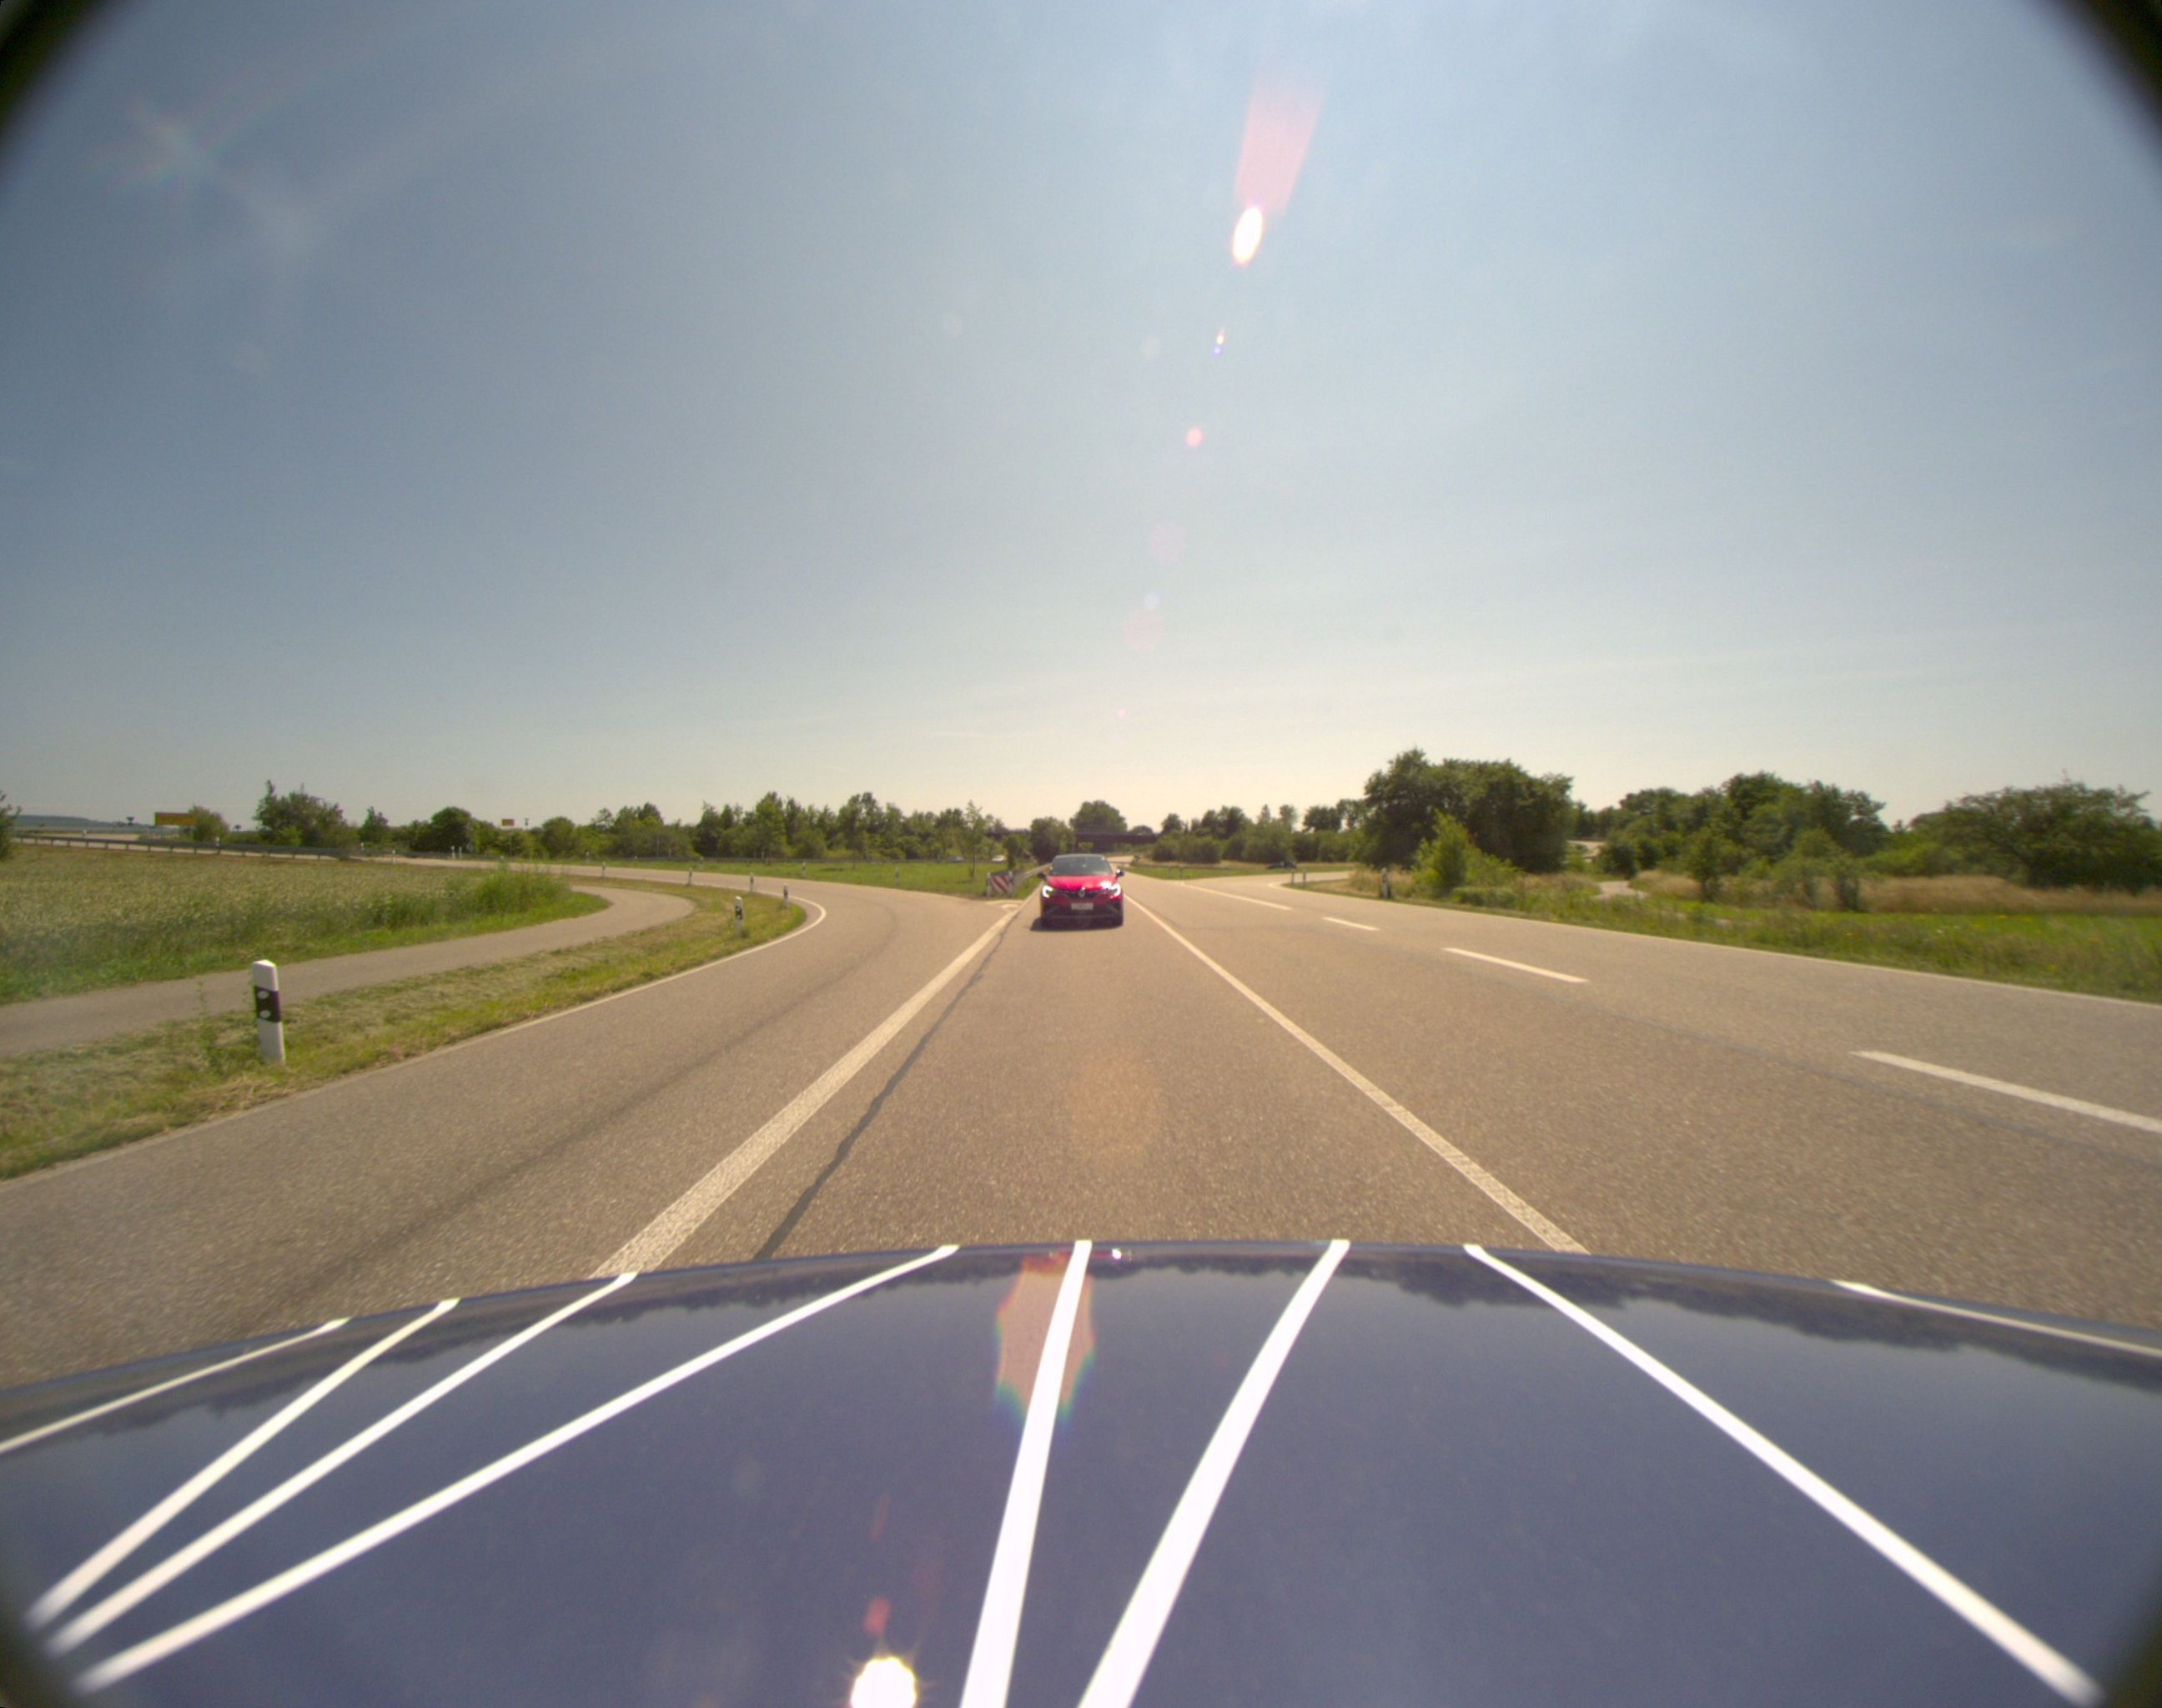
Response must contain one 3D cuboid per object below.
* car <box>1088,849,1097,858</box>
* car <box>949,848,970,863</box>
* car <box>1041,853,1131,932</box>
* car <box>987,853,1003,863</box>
[{"bbox_3d":[2.526,-0.086,173.993,1.998,2.002,3.999,1,1,0],"label":"car"},{"bbox_3d":[-17.217,0.239,107.624,1.793,2.002,3.725,1,0,10],"label":"car"},{"bbox_3d":[0.100,0.800,18.136,1.837,1.587,4.721,-1,0,0],"label":"car"},{"bbox_3d":[-15.071,0.701,133.150,1.998,1.674,4.001,-1,1,6],"label":"car"}]
